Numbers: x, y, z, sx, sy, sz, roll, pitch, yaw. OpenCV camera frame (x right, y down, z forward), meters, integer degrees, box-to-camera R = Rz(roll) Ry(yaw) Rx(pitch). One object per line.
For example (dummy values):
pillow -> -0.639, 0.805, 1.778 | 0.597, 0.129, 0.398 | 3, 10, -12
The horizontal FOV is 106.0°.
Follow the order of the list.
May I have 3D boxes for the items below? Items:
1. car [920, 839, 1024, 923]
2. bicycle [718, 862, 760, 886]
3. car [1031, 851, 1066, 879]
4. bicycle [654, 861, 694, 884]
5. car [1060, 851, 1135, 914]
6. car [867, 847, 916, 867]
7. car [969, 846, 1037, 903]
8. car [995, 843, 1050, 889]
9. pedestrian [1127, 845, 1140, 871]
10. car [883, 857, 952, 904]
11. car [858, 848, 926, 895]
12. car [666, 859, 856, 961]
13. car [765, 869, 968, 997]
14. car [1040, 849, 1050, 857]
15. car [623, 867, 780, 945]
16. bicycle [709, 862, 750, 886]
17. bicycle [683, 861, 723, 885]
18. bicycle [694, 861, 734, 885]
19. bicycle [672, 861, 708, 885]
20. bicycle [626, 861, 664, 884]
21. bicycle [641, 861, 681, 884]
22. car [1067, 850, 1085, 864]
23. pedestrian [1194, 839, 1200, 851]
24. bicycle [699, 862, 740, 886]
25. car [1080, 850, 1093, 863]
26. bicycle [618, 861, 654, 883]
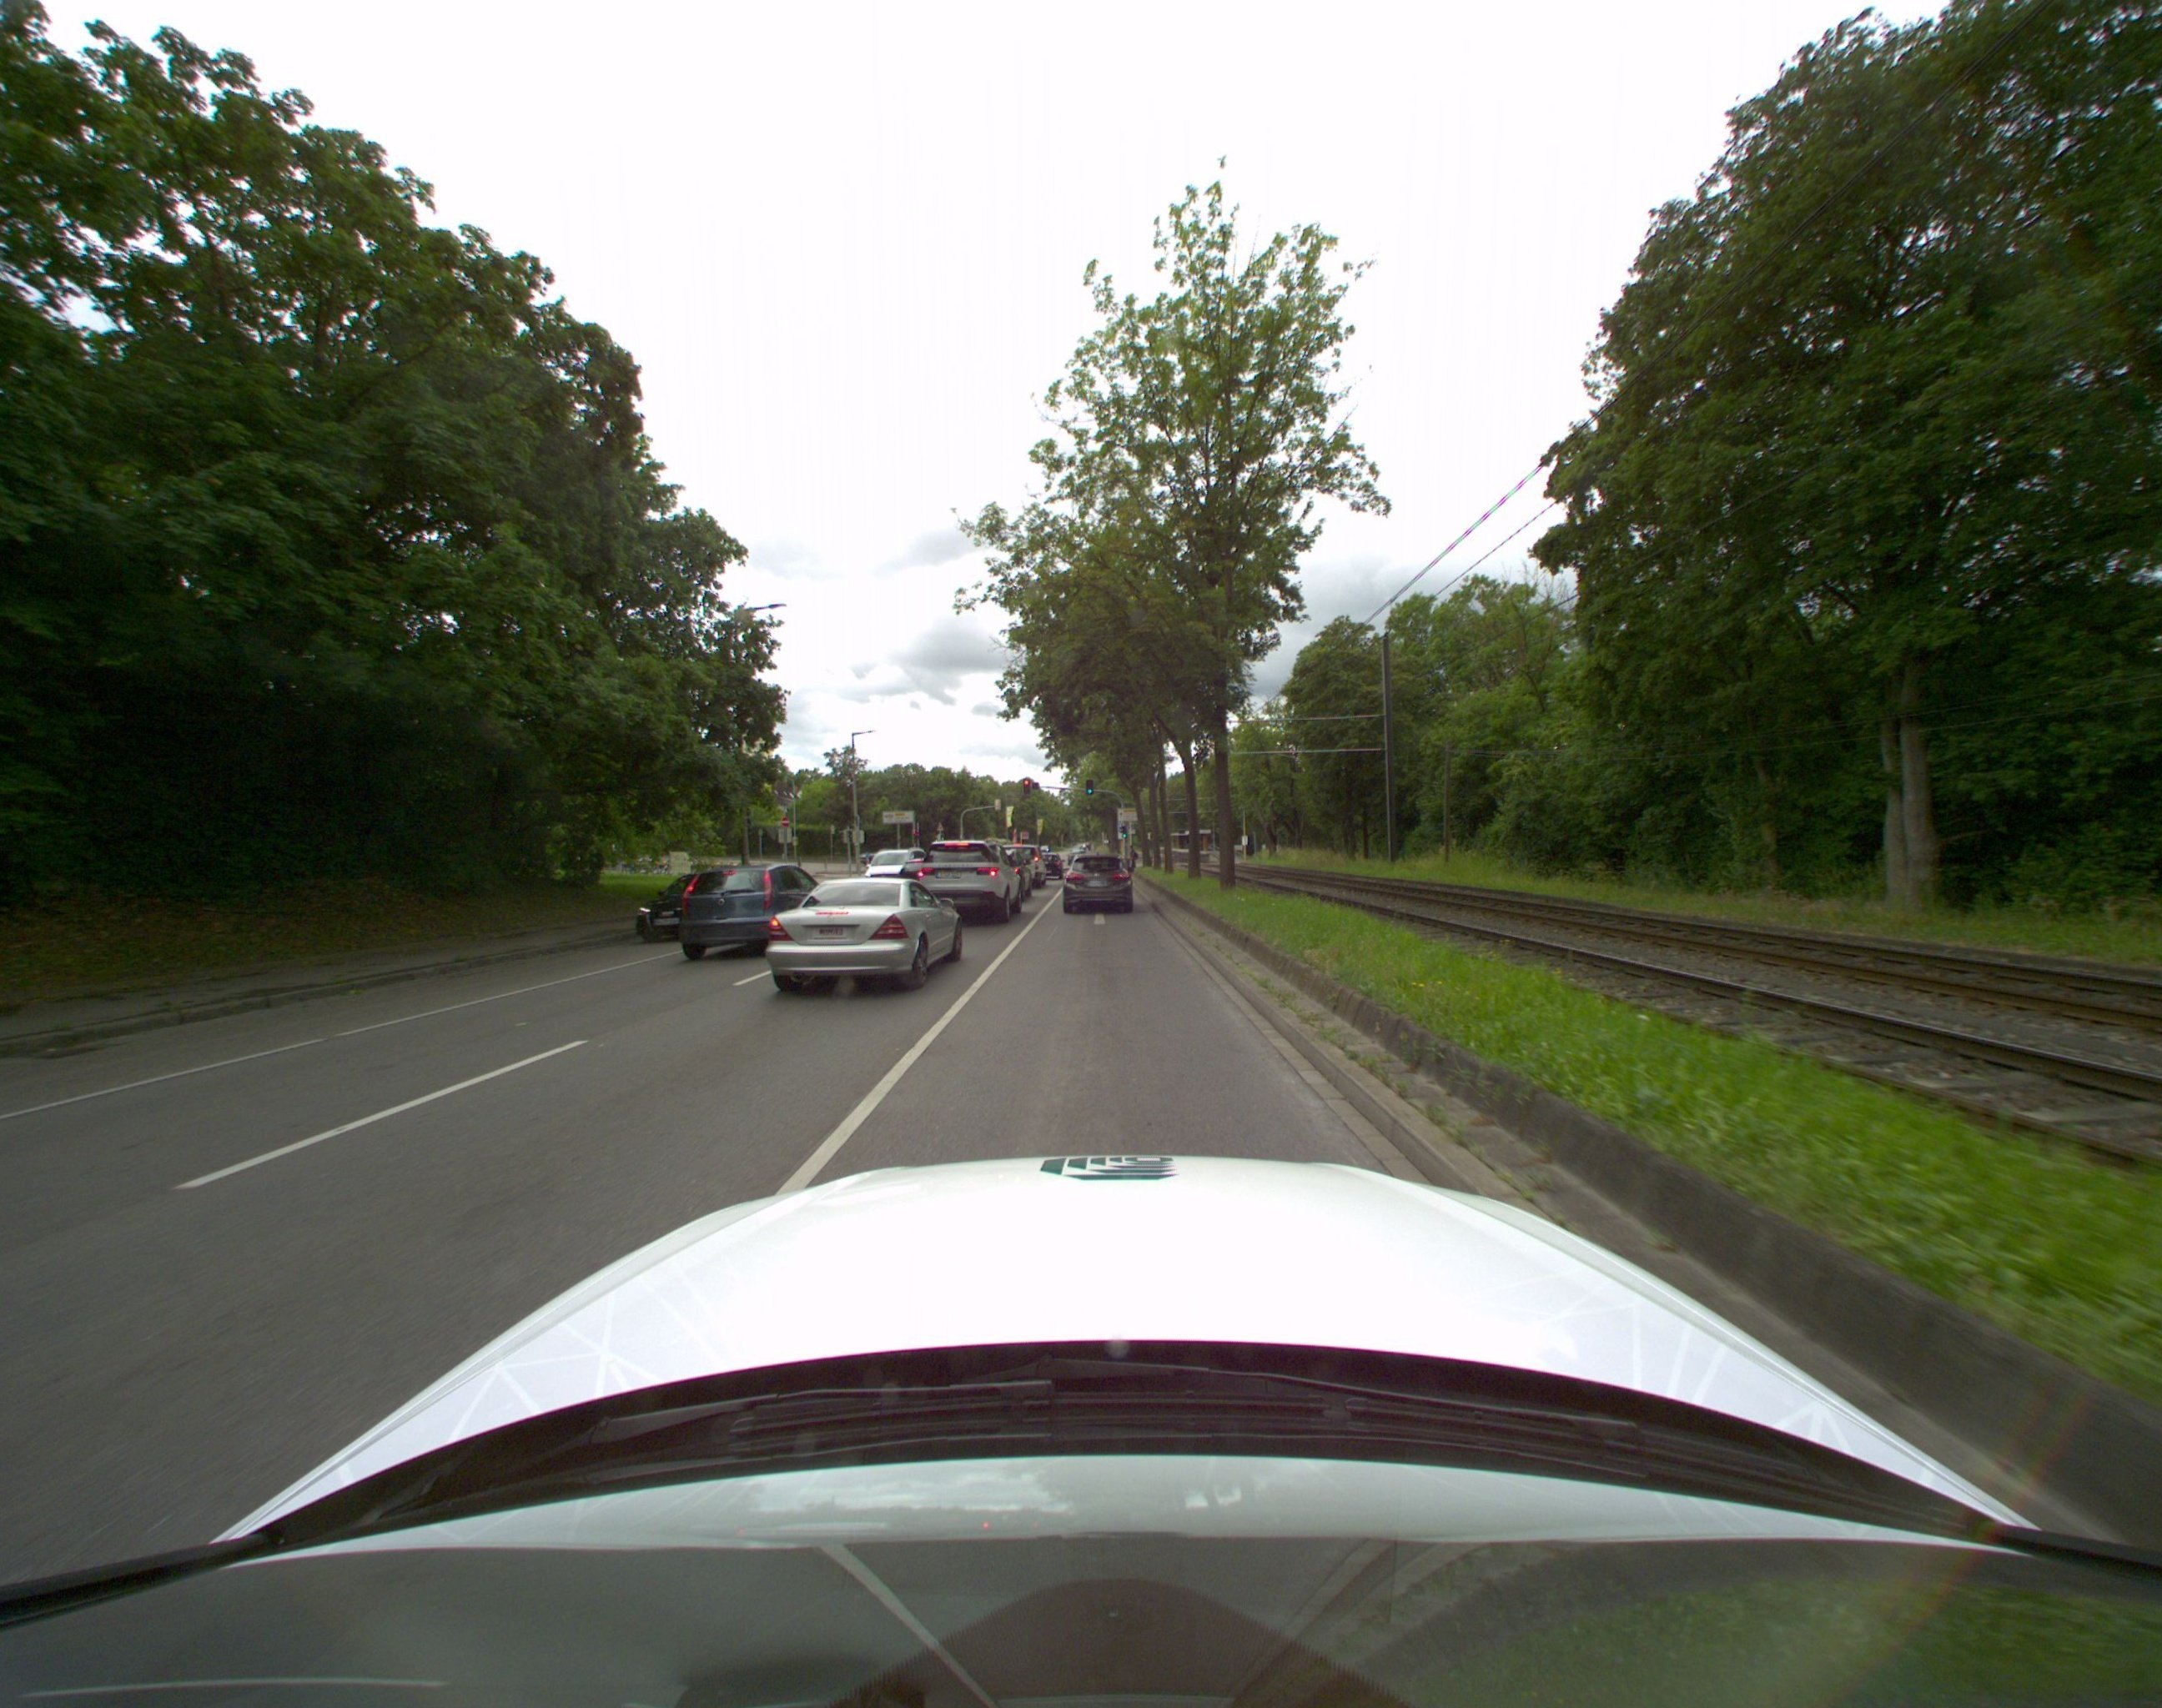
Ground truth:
car -> -2.470, 0.587, 19.581 | 1.797, 1.795, 4.504 | 0, 0, 1
bicycle -> -17.777, 1.032, 42.372 | 0.539, 1.252, 1.947 | 0, -1, 38
car -> -1.782, 0.610, 45.819 | 1.698, 1.480, 3.668 | -1, 0, 1
bicycle -> -22.512, 1.017, 45.033 | 0.539, 1.252, 1.947 | 0, -1, 34
car -> 0.493, 0.692, 21.860 | 1.830, 1.528, 3.932 | 0, 0, 3
car -> -18.433, 0.280, 79.312 | 4.445, 1.811, 1.936 | -1, 0, -21
car -> -2.542, 0.635, 27.372 | 1.745, 1.718, 4.335 | -2, 0, 1
car -> -2.505, 0.488, 36.007 | 1.900, 1.843, 5.282 | -1, 0, 1
pedestrian -> 3.620, 0.293, 56.124 | 0.748, 1.737, 0.841 | -4, 0, 5
car -> -5.731, 0.890, 28.974 | 1.550, 1.466, 3.808 | -3, 0, 1
car -> -8.038, 0.710, 35.053 | 1.785, 1.831, 4.409 | -2, 0, 0
car -> -5.450, 0.875, 14.454 | 1.585, 1.468, 3.932 | -3, 0, 3
car -> -2.572, 0.884, 10.659 | 1.549, 1.267, 3.823 | -1, 0, 1
car -> -7.340, -0.223, 167.440 | 1.896, 1.678, 5.078 | -1, 0, -1
car -> -8.278, 1.073, 18.169 | 1.624, 1.395, 3.833 | -3, 0, 0
bicycle -> -18.407, 1.030, 42.672 | 0.539, 1.252, 1.947 | 0, 0, 38
bicycle -> -20.465, 1.024, 44.129 | 0.539, 1.252, 1.947 | 0, -1, 38
bicycle -> -19.672, 1.027, 43.669 | 0.539, 1.252, 1.947 | 0, -1, 38
bicycle -> -21.365, 1.021, 44.523 | 0.539, 1.252, 1.944 | 0, 0, 18
bicycle -> -24.449, 1.008, 45.739 | 0.539, 1.252, 1.946 | 0, 0, 23
bicycle -> -23.375, 1.013, 45.394 | 0.539, 1.252, 1.947 | 0, -1, 34
car -> -0.481, 0.352, 87.028 | 1.703, 1.475, 3.674 | 0, 0, 3
pedestrian -> 15.353, -1.199, 107.447 | 0.715, 1.511, 0.724 | 0, -1, 3
bicycle -> -19.067, 1.028, 43.000 | 0.539, 1.252, 1.947 | 0, -1, 38
car -> 0.666, 0.321, 104.172 | 1.497, 1.528, 3.674 | 0, 0, 3
bicycle -> -25.107, 1.006, 46.003 | 0.540, 1.252, 1.944 | 0, 0, 18
